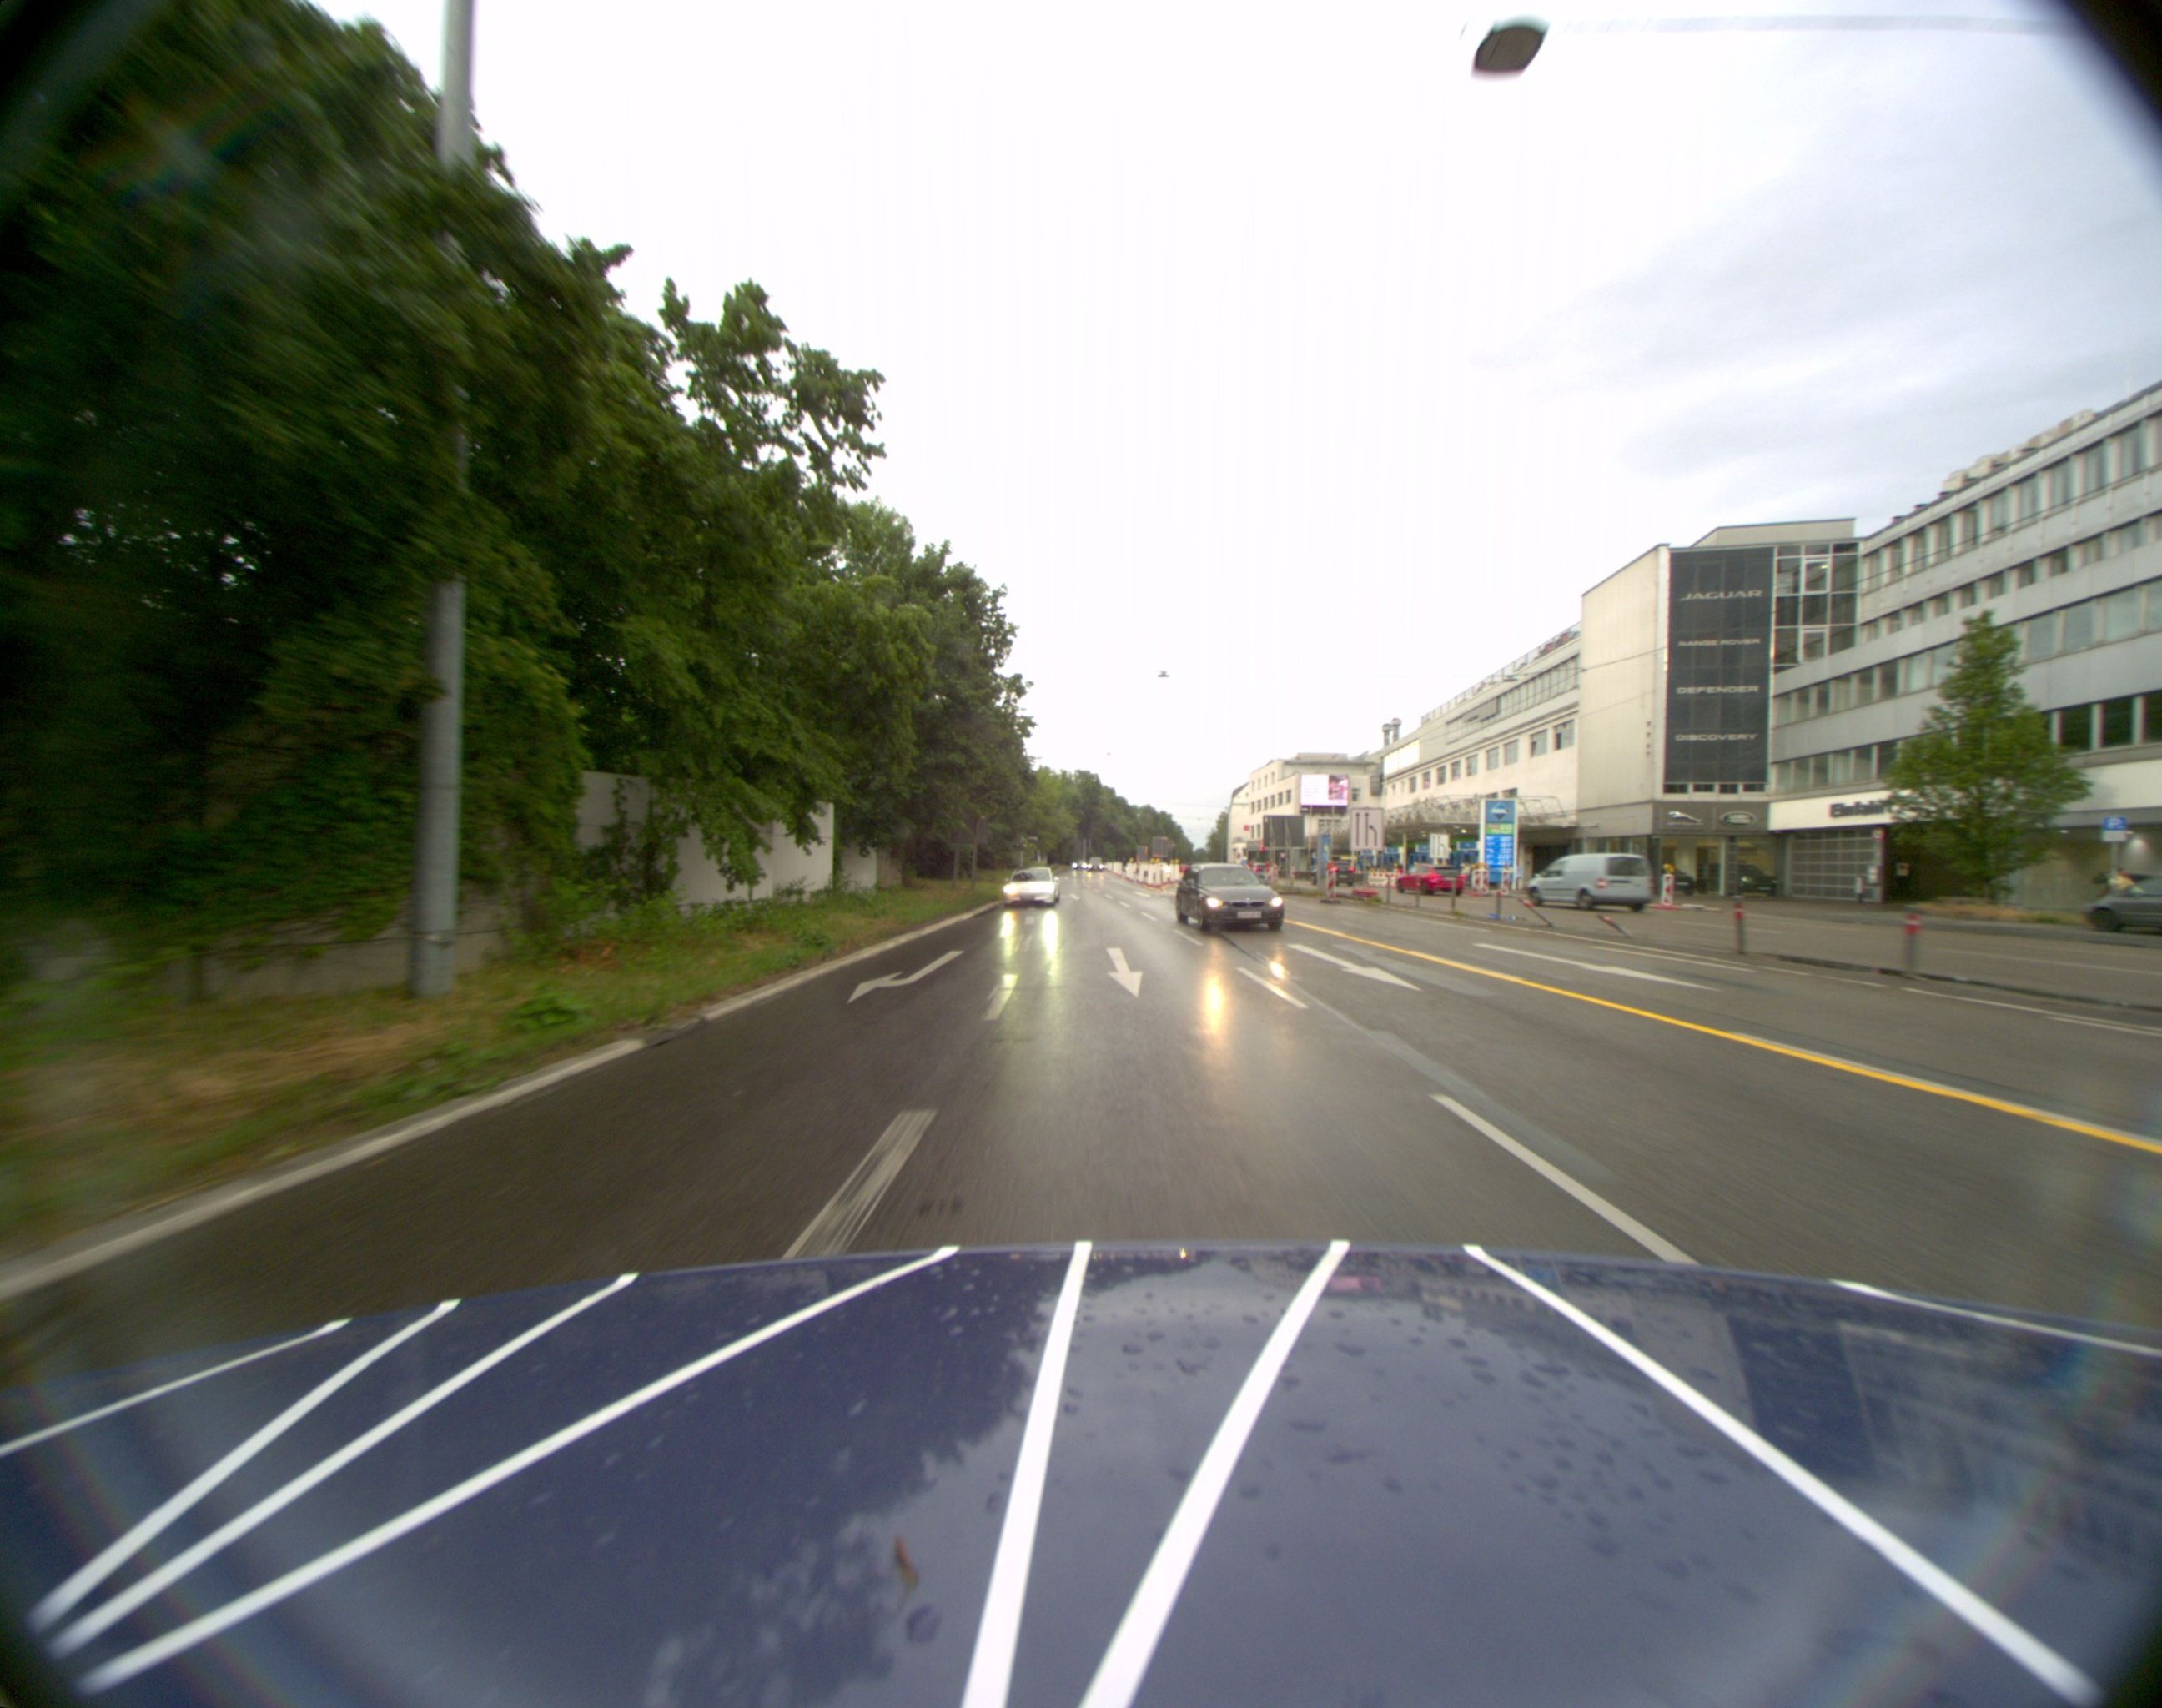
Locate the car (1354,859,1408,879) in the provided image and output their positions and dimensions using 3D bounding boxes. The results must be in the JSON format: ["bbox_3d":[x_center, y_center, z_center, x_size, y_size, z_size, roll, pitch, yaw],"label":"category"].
[{"bbox_3d":[29.395,1.448,74.560,4.432,1.760,1.972,3,0,41],"label":"car"}]

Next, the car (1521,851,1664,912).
[{"bbox_3d":[16.528,0.833,24.866,1.738,1.775,4.301,2,0,0],"label":"car"}]

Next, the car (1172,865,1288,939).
[{"bbox_3d":[3.326,1.019,17.770,1.764,1.441,4.176,0,0,-2],"label":"car"}]

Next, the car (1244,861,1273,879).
[{"bbox_3d":[16.806,1.517,72.112,1.812,1.549,4.301,1,0,2],"label":"car"}]

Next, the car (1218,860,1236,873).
[{"bbox_3d":[18.444,1.504,96.144,1.755,1.505,4.001,2,1,5],"label":"car"}]

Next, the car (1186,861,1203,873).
[{"bbox_3d":[14.383,1.632,96.352,1.692,1.346,4.116,2,0,4],"label":"car"}]

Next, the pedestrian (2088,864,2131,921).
[{"bbox_3d":[32.162,1.195,23.767,0.670,1.710,0.705,2,1,-33],"label":"pedestrian"}]

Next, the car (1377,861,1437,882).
[{"bbox_3d":[29.465,1.606,68.762,4.465,1.669,2.019,3,0,41],"label":"car"}]

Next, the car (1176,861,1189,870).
[{"bbox_3d":[16.994,1.935,127.390,1.740,1.396,4.289,0,0,0],"label":"car"}]

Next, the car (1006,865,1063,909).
[{"bbox_3d":[-1.694,1.207,29.027,1.839,1.424,4.273,-2,0,1],"label":"car"}]

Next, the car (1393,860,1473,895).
[{"bbox_3d":[16.762,1.096,36.449,1.834,1.493,4.373,2,0,1],"label":"car"}]

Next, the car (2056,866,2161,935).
[{"bbox_3d":[29.176,1.258,19.874,1.851,1.768,4.735,2,0,12],"label":"car"}]

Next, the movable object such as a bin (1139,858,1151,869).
[{"bbox_3d":[13.027,1.847,153.850,1.997,2.099,3.853,2,-1,9],"label":"movable object such as a bin"}]

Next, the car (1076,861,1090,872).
[{"bbox_3d":[0.317,1.757,110.861,1.741,1.477,3.919,-2,0,3],"label":"car"}]

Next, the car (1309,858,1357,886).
[{"bbox_3d":[16.974,1.160,51.388,1.849,1.727,4.605,1,0,3],"label":"car"}]

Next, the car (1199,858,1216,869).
[{"bbox_3d":[20.394,1.469,122.534,1.984,1.697,4.831,1,0,0],"label":"car"}]

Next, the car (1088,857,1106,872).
[{"bbox_3d":[1.960,1.319,93.361,1.998,1.739,4.001,2,0,3],"label":"car"}]
